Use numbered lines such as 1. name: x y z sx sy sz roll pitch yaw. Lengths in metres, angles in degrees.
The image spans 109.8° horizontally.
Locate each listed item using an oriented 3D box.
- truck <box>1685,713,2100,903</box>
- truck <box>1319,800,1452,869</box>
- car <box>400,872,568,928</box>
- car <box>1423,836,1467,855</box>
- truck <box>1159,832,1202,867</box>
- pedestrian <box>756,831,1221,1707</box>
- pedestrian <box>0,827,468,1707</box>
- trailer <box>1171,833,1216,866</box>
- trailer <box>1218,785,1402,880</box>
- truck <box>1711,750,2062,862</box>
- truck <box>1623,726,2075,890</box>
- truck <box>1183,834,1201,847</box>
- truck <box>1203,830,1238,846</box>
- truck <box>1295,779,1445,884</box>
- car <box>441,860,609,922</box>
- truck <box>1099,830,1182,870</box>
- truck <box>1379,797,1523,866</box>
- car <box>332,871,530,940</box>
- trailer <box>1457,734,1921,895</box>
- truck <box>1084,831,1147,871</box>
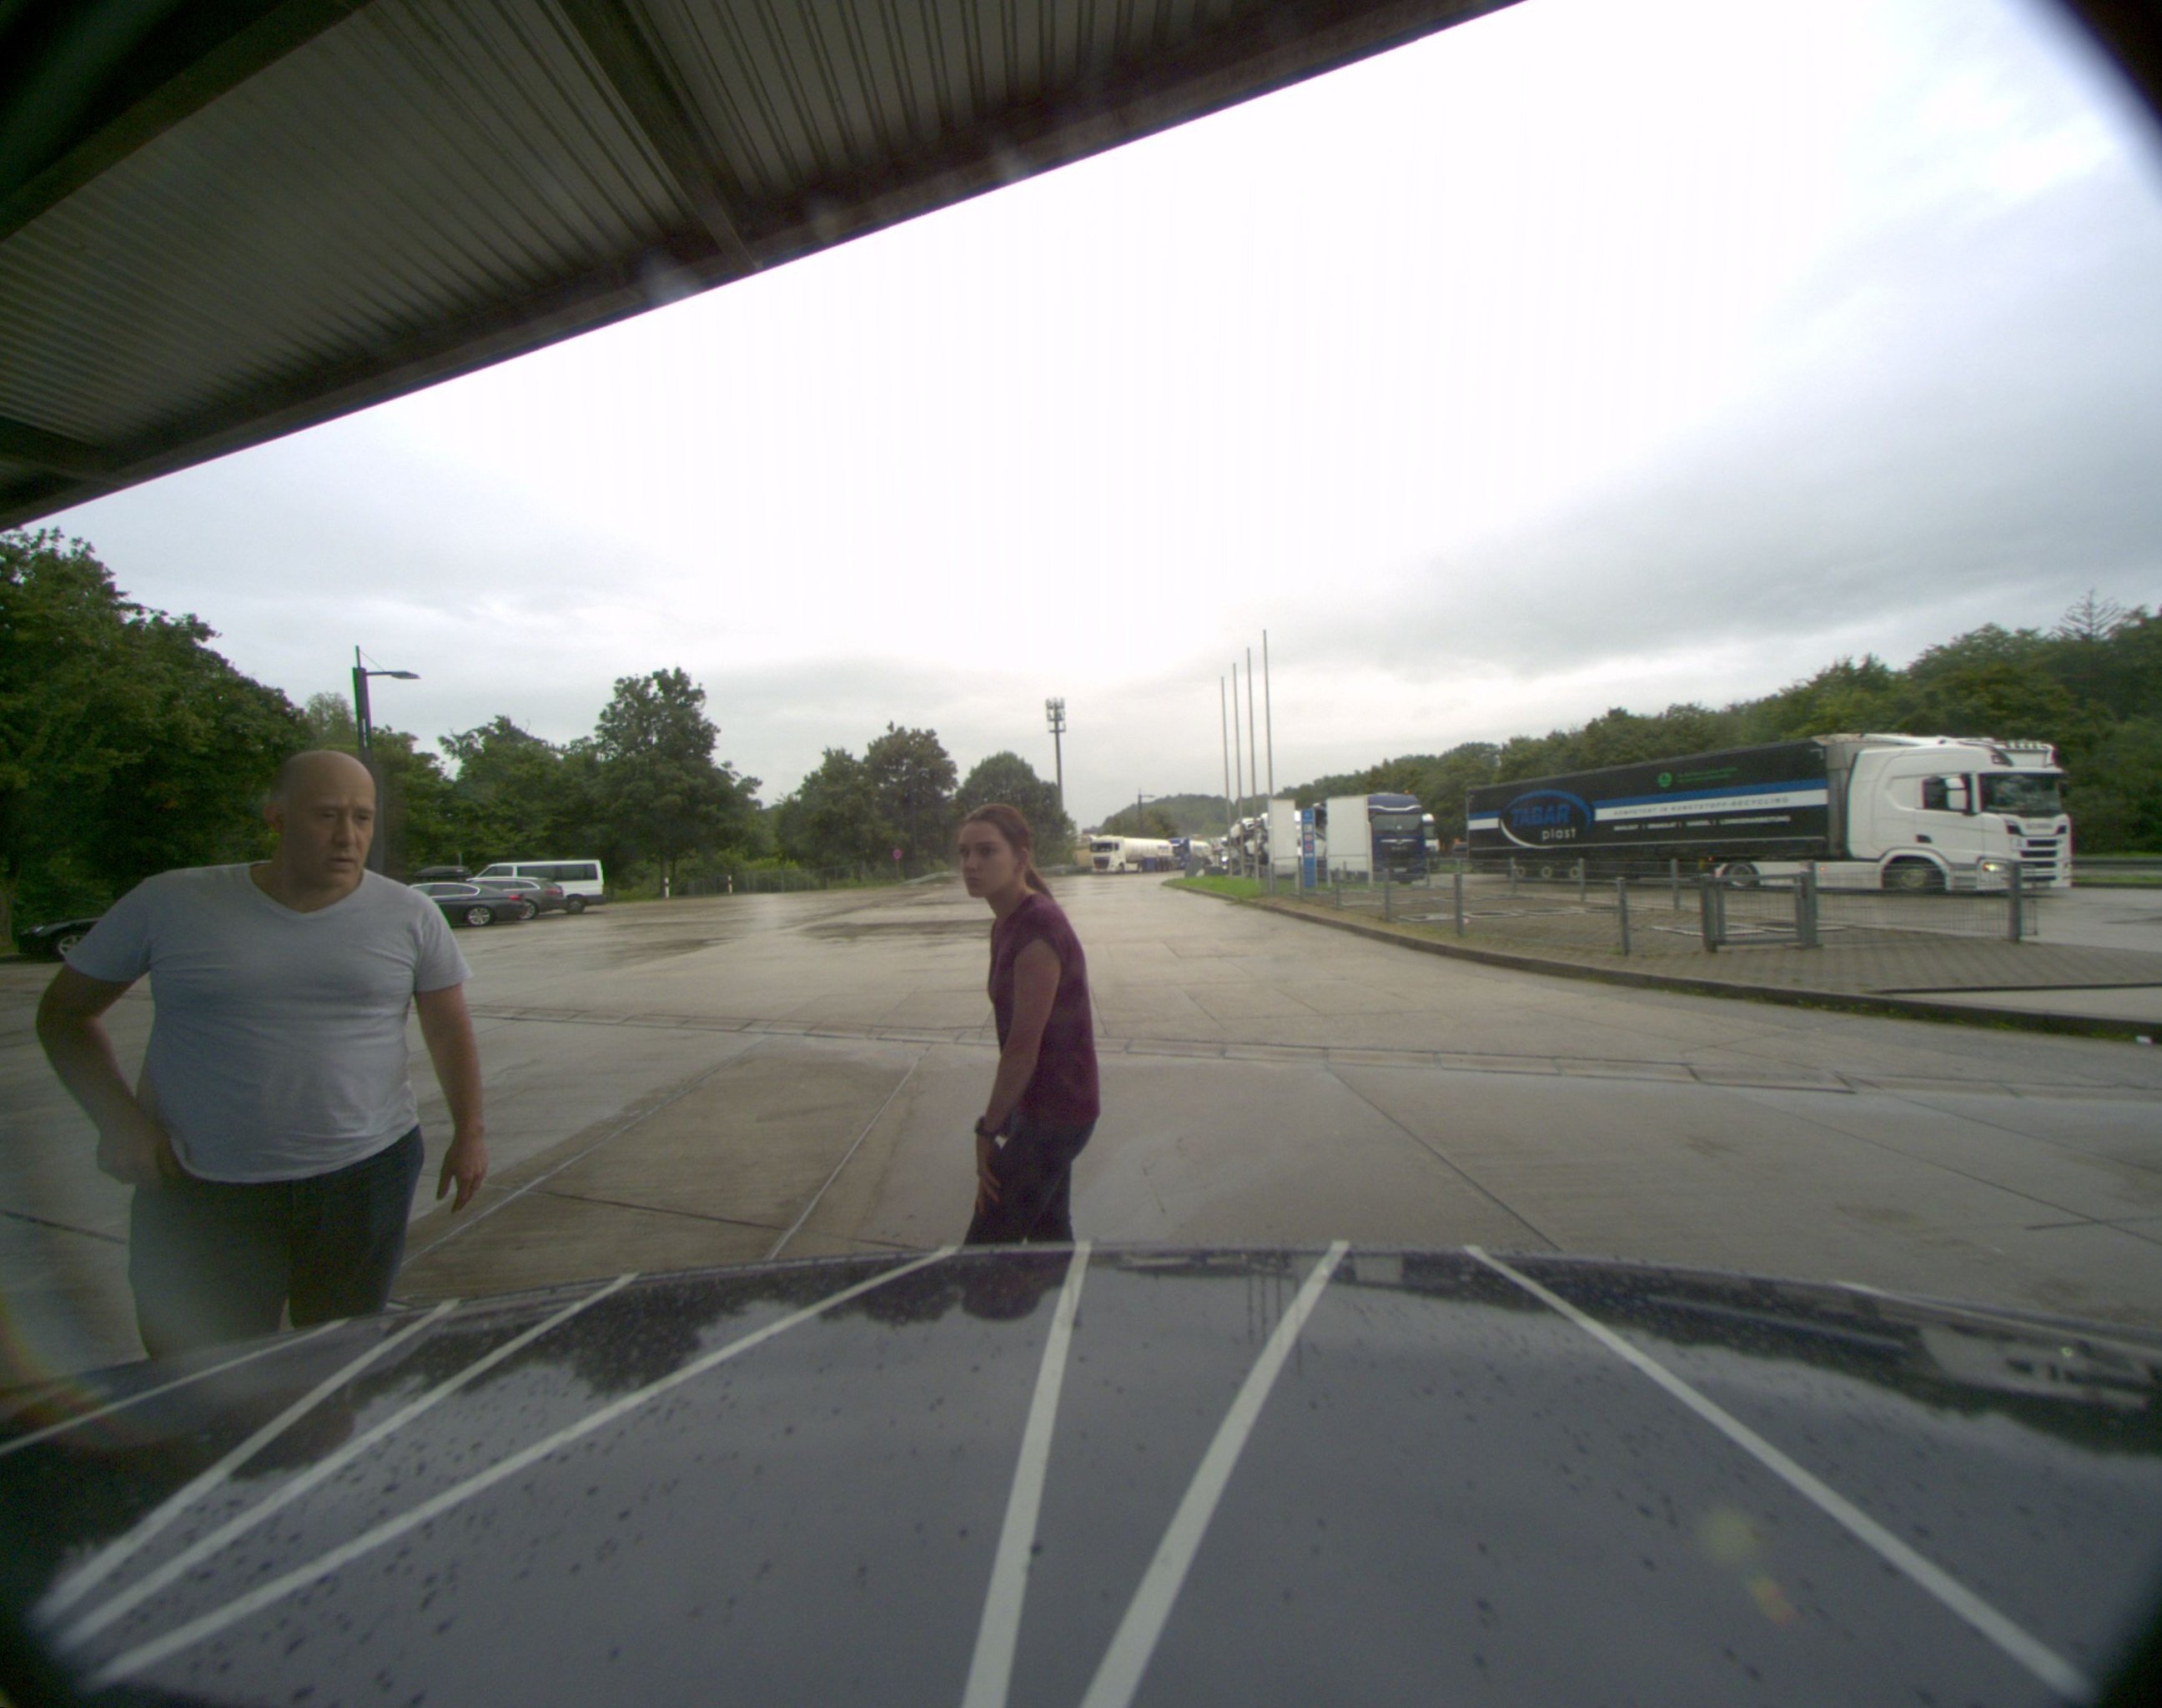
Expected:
1. truck: 20.218 -1.043 19.673 2.992 4.009 6.734 -2 1 -12
2. truck: 19.764 -1.212 50.429 2.991 4.009 10.464 -2 1 -10
3. car: -19.651 1.455 25.285 4.187 1.547 1.995 -2 0 -33
4. car: 45.408 -1.041 94.974 2.421 2.163 5.623 -2 0 -6
5. truck: 11.338 -0.519 85.732 3.045 3.745 6.475 -2 1 23
6. pedestrian: -0.162 0.825 1.785 0.796 1.724 0.839 -1 1 -1
7. pedestrian: -1.743 0.860 1.545 0.635 1.800 0.493 -4 3 -34
8. trailer: 13.680 -0.646 91.439 2.898 3.618 10.586 -2 1 22
9. trailer: 11.379 -0.992 40.937 2.990 4.009 16.597 -2 1 -7
10. truck: 33.778 -1.810 32.928 2.991 4.009 10.464 -2 1 -10
11. truck: 23.063 -1.205 24.305 2.774 4.009 10.632 -2 1 -8
12. truck: 30.513 -3.693 209.333 2.619 3.458 9.319 -2 1 -4
13. truck: 33.023 -3.686 180.886 3.251 3.543 16.548 -2 1 -7
14. truck: 12.307 -0.916 33.245 2.990 4.009 7.259 -2 1 -7
15. car: -20.261 1.284 27.915 4.780 1.974 2.010 -2 0 -36
16. truck: 6.209 -0.517 76.348 3.243 3.544 11.995 -2 1 31
17. truck: 24.367 -1.395 50.952 2.991 4.009 10.464 -2 1 -10
18. car: -19.120 1.452 22.644 4.187 1.720 1.995 -2 0 -33
19. trailer: 18.918 -1.067 26.113 2.991 4.009 13.794 -2 1 -11
20. truck: 3.325 -0.351 71.437 3.243 3.544 6.114 -2 1 31
